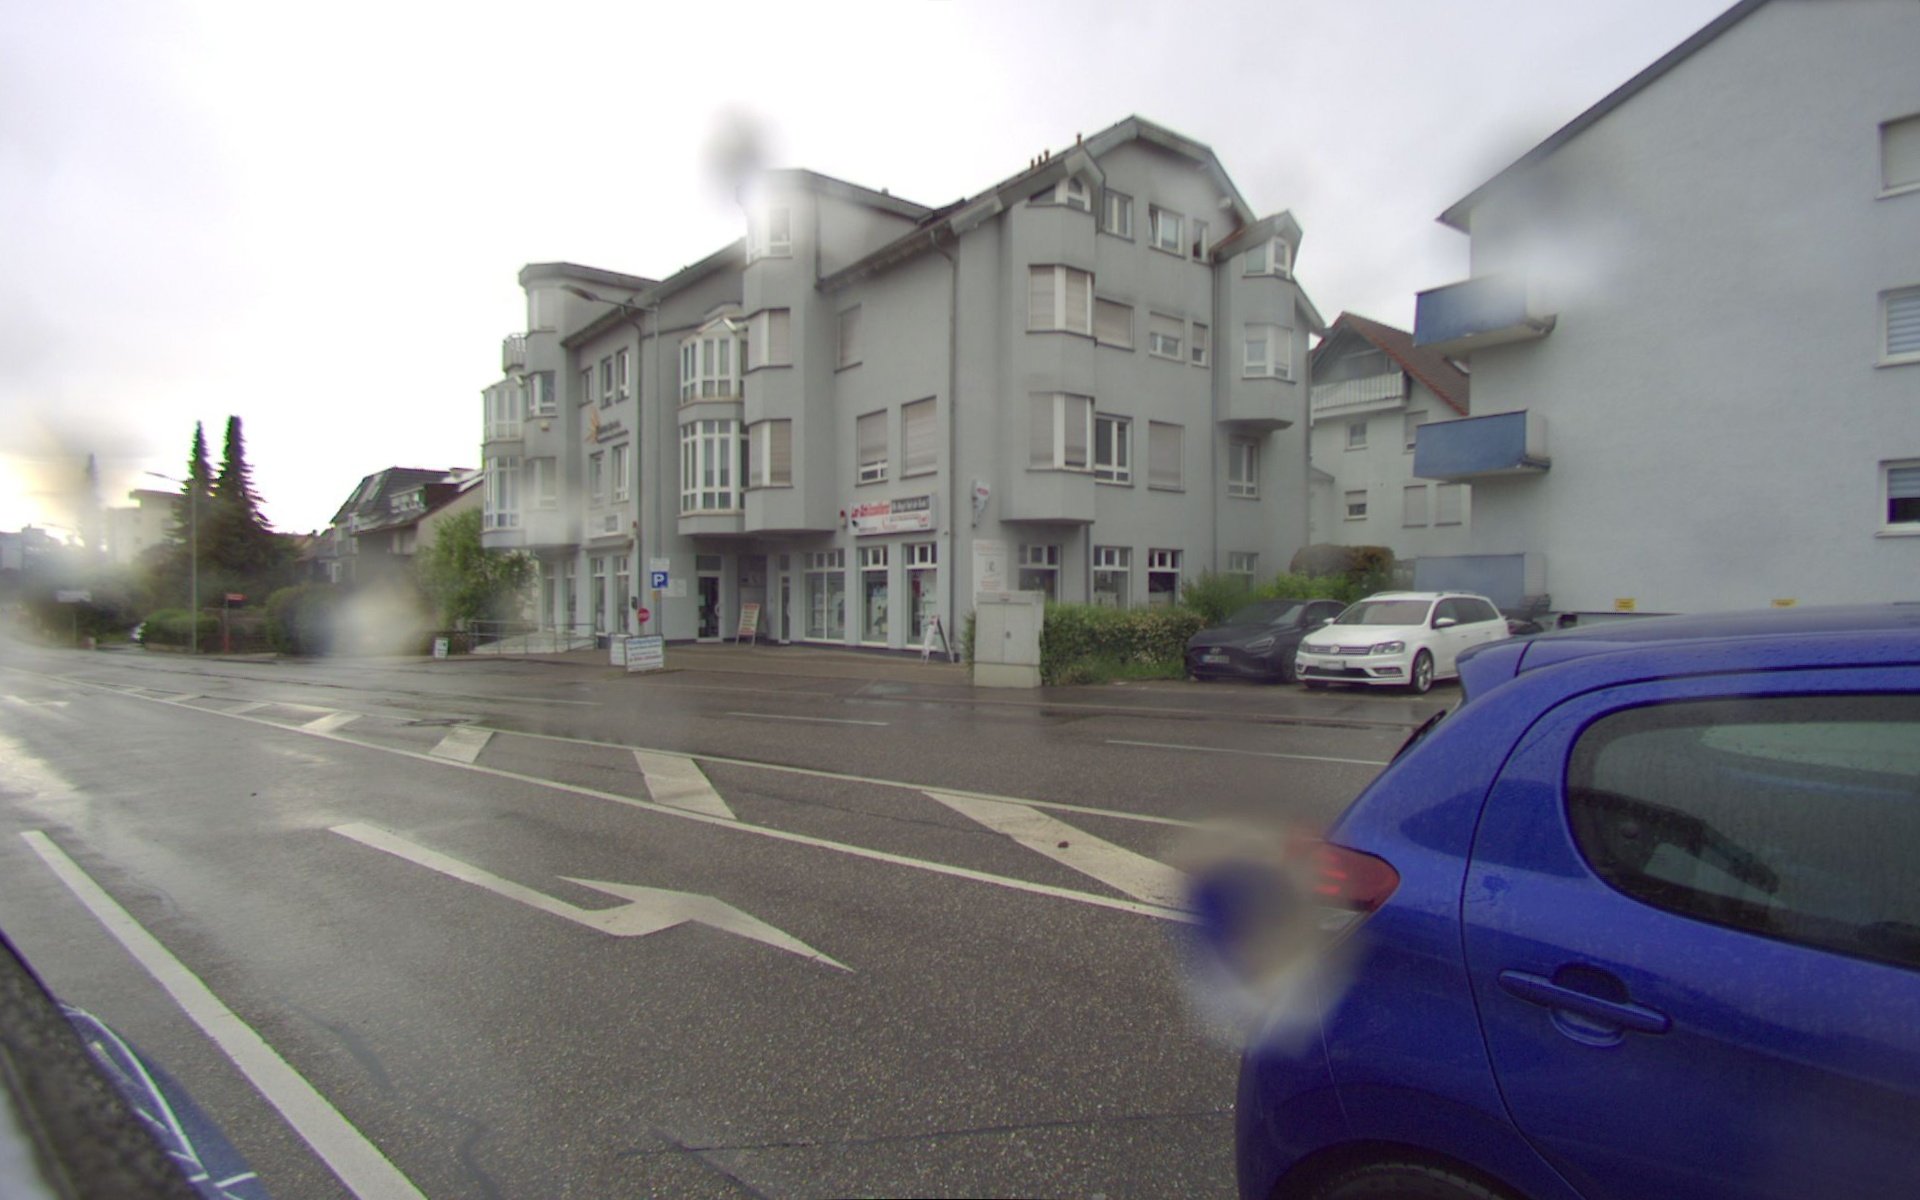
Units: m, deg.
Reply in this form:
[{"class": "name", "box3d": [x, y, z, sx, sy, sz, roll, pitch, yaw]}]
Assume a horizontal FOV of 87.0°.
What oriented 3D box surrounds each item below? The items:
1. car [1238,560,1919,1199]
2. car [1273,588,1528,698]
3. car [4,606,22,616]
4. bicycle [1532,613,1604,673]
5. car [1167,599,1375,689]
[{"class": "car", "box3d": [2.245, 0.636, 1.207, 3.362, 1.423, 1.489, -2, -1, 41]}, {"class": "car", "box3d": [6.992, 0.601, 15.815, 4.685, 1.471, 1.883, 0, -2, -42]}, {"class": "car", "box3d": [-165.530, 1.919, 176.892, 4.001, 1.798, 1.972, -1, 0, 43]}, {"class": "bicycle", "box3d": [11.153, 0.789, 18.571, 1.065, 1.061, 0.343, -2, -1, 41]}, {"class": "car", "box3d": [5.503, 0.686, 17.660, 1.851, 1.366, 3.941, -1, 0, 45]}]
